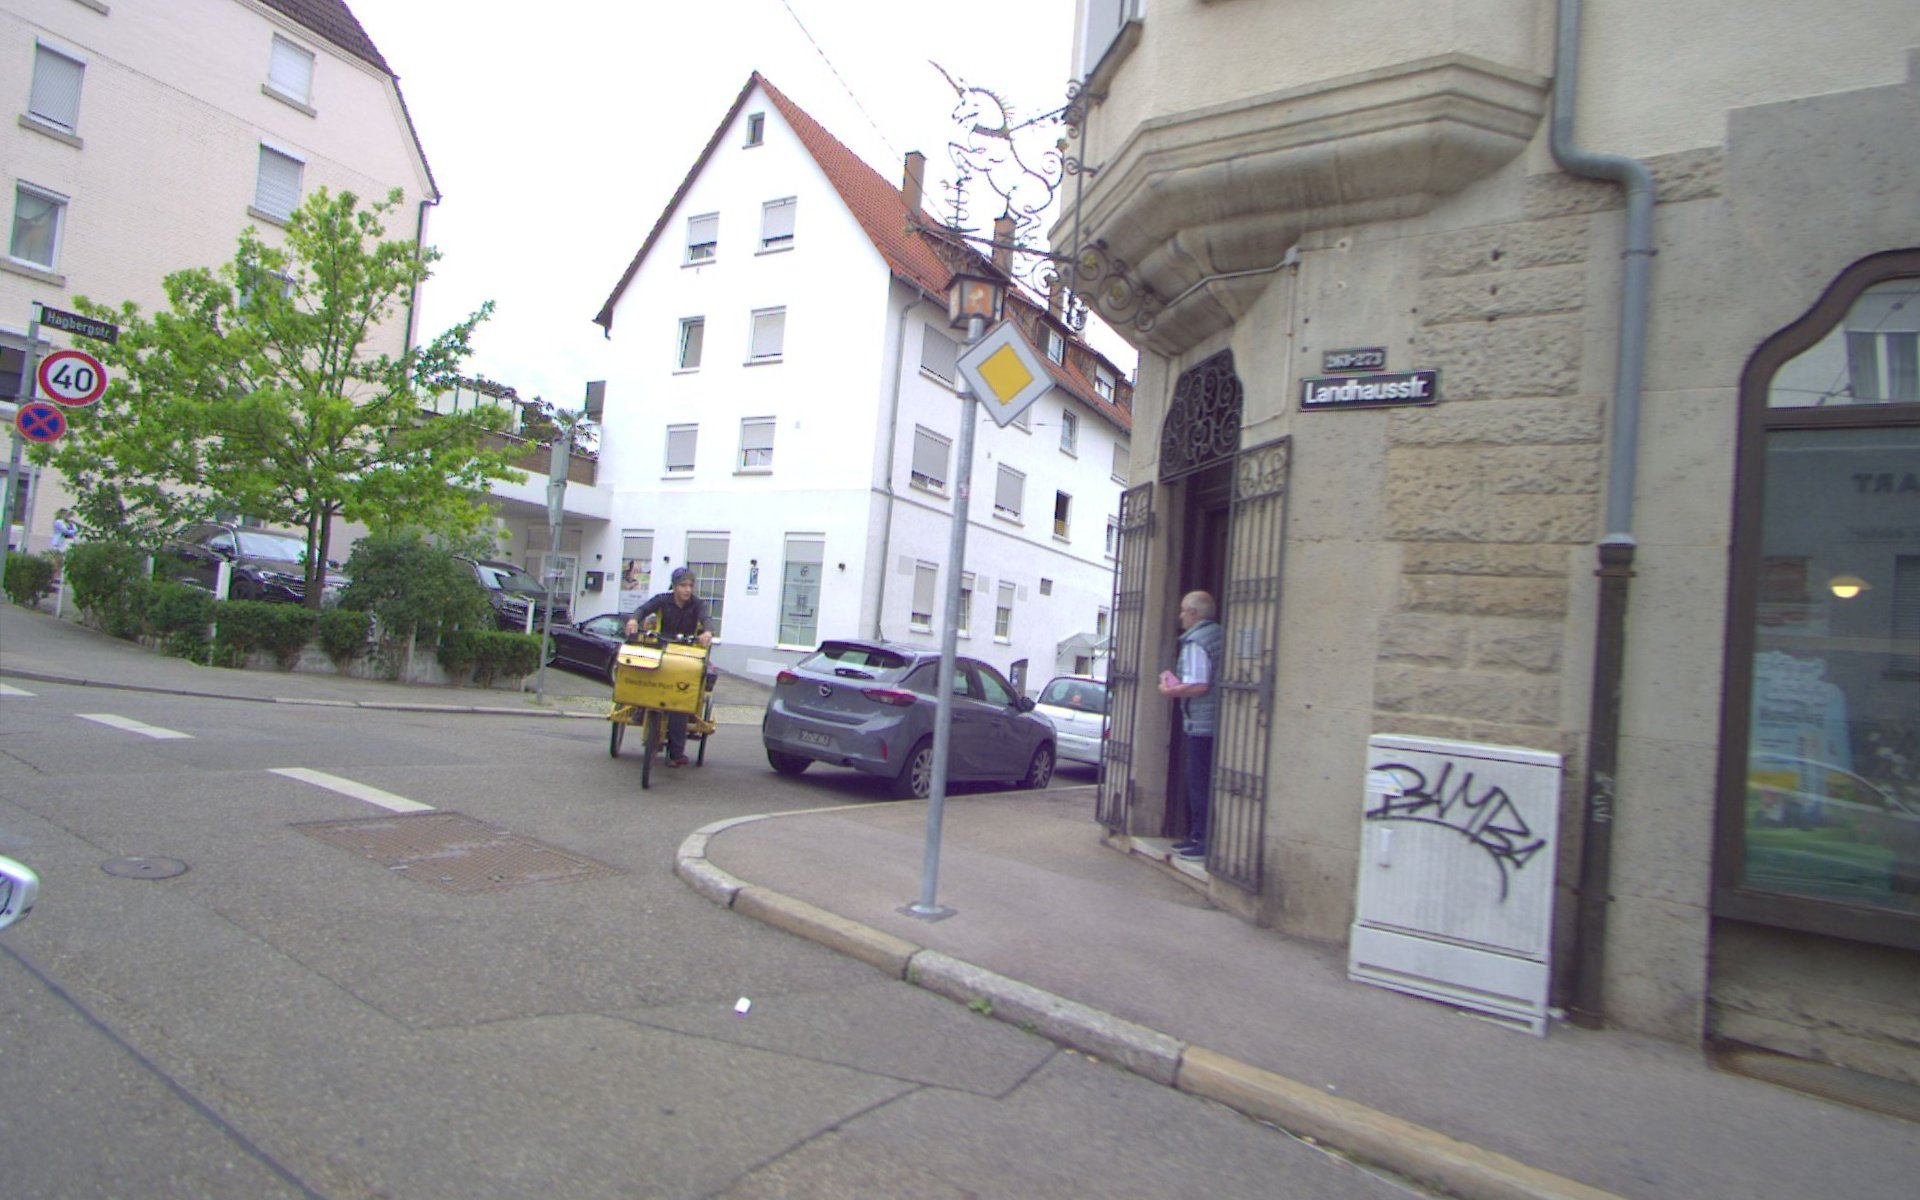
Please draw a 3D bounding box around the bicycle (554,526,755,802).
[{"bbox_3d":[-2.627,0.523,8.716,1.165,1.886,2.722,9,-3,-17],"label":"bicycle"}]

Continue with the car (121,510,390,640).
[{"bbox_3d":[-13.174,-0.495,18.753,5.008,1.702,1.999,7,-2,29],"label":"car"}]

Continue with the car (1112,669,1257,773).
[{"bbox_3d":[4.457,2.352,19.535,1.553,1.598,3.987,7,-3,29],"label":"car"}]

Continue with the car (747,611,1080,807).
[{"bbox_3d":[-0.265,1.142,10.526,1.553,1.480,3.859,7,-3,29],"label":"car"}]

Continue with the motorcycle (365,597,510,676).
[{"bbox_3d":[-8.731,0.605,16.792,2.345,1.116,0.930,2,-5,30],"label":"motorcycle"}]

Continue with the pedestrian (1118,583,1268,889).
[{"bbox_3d":[1.433,0.821,6.217,0.478,1.788,0.489,8,-1,-25],"label":"pedestrian"}]

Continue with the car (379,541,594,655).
[{"bbox_3d":[-10.917,-0.054,23.142,4.624,1.933,1.999,7,-2,30],"label":"car"}]

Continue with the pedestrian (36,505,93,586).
[{"bbox_3d":[-18.882,-1.148,21.221,0.674,1.600,0.559,7,-1,32],"label":"pedestrian"}]

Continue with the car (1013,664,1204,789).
[{"bbox_3d":[2.299,1.859,14.841,1.553,1.404,3.444,7,-3,29],"label":"car"}]

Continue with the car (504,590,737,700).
[{"bbox_3d":[-6.741,0.872,19.882,4.252,1.369,1.916,9,-2,30],"label":"car"}]
